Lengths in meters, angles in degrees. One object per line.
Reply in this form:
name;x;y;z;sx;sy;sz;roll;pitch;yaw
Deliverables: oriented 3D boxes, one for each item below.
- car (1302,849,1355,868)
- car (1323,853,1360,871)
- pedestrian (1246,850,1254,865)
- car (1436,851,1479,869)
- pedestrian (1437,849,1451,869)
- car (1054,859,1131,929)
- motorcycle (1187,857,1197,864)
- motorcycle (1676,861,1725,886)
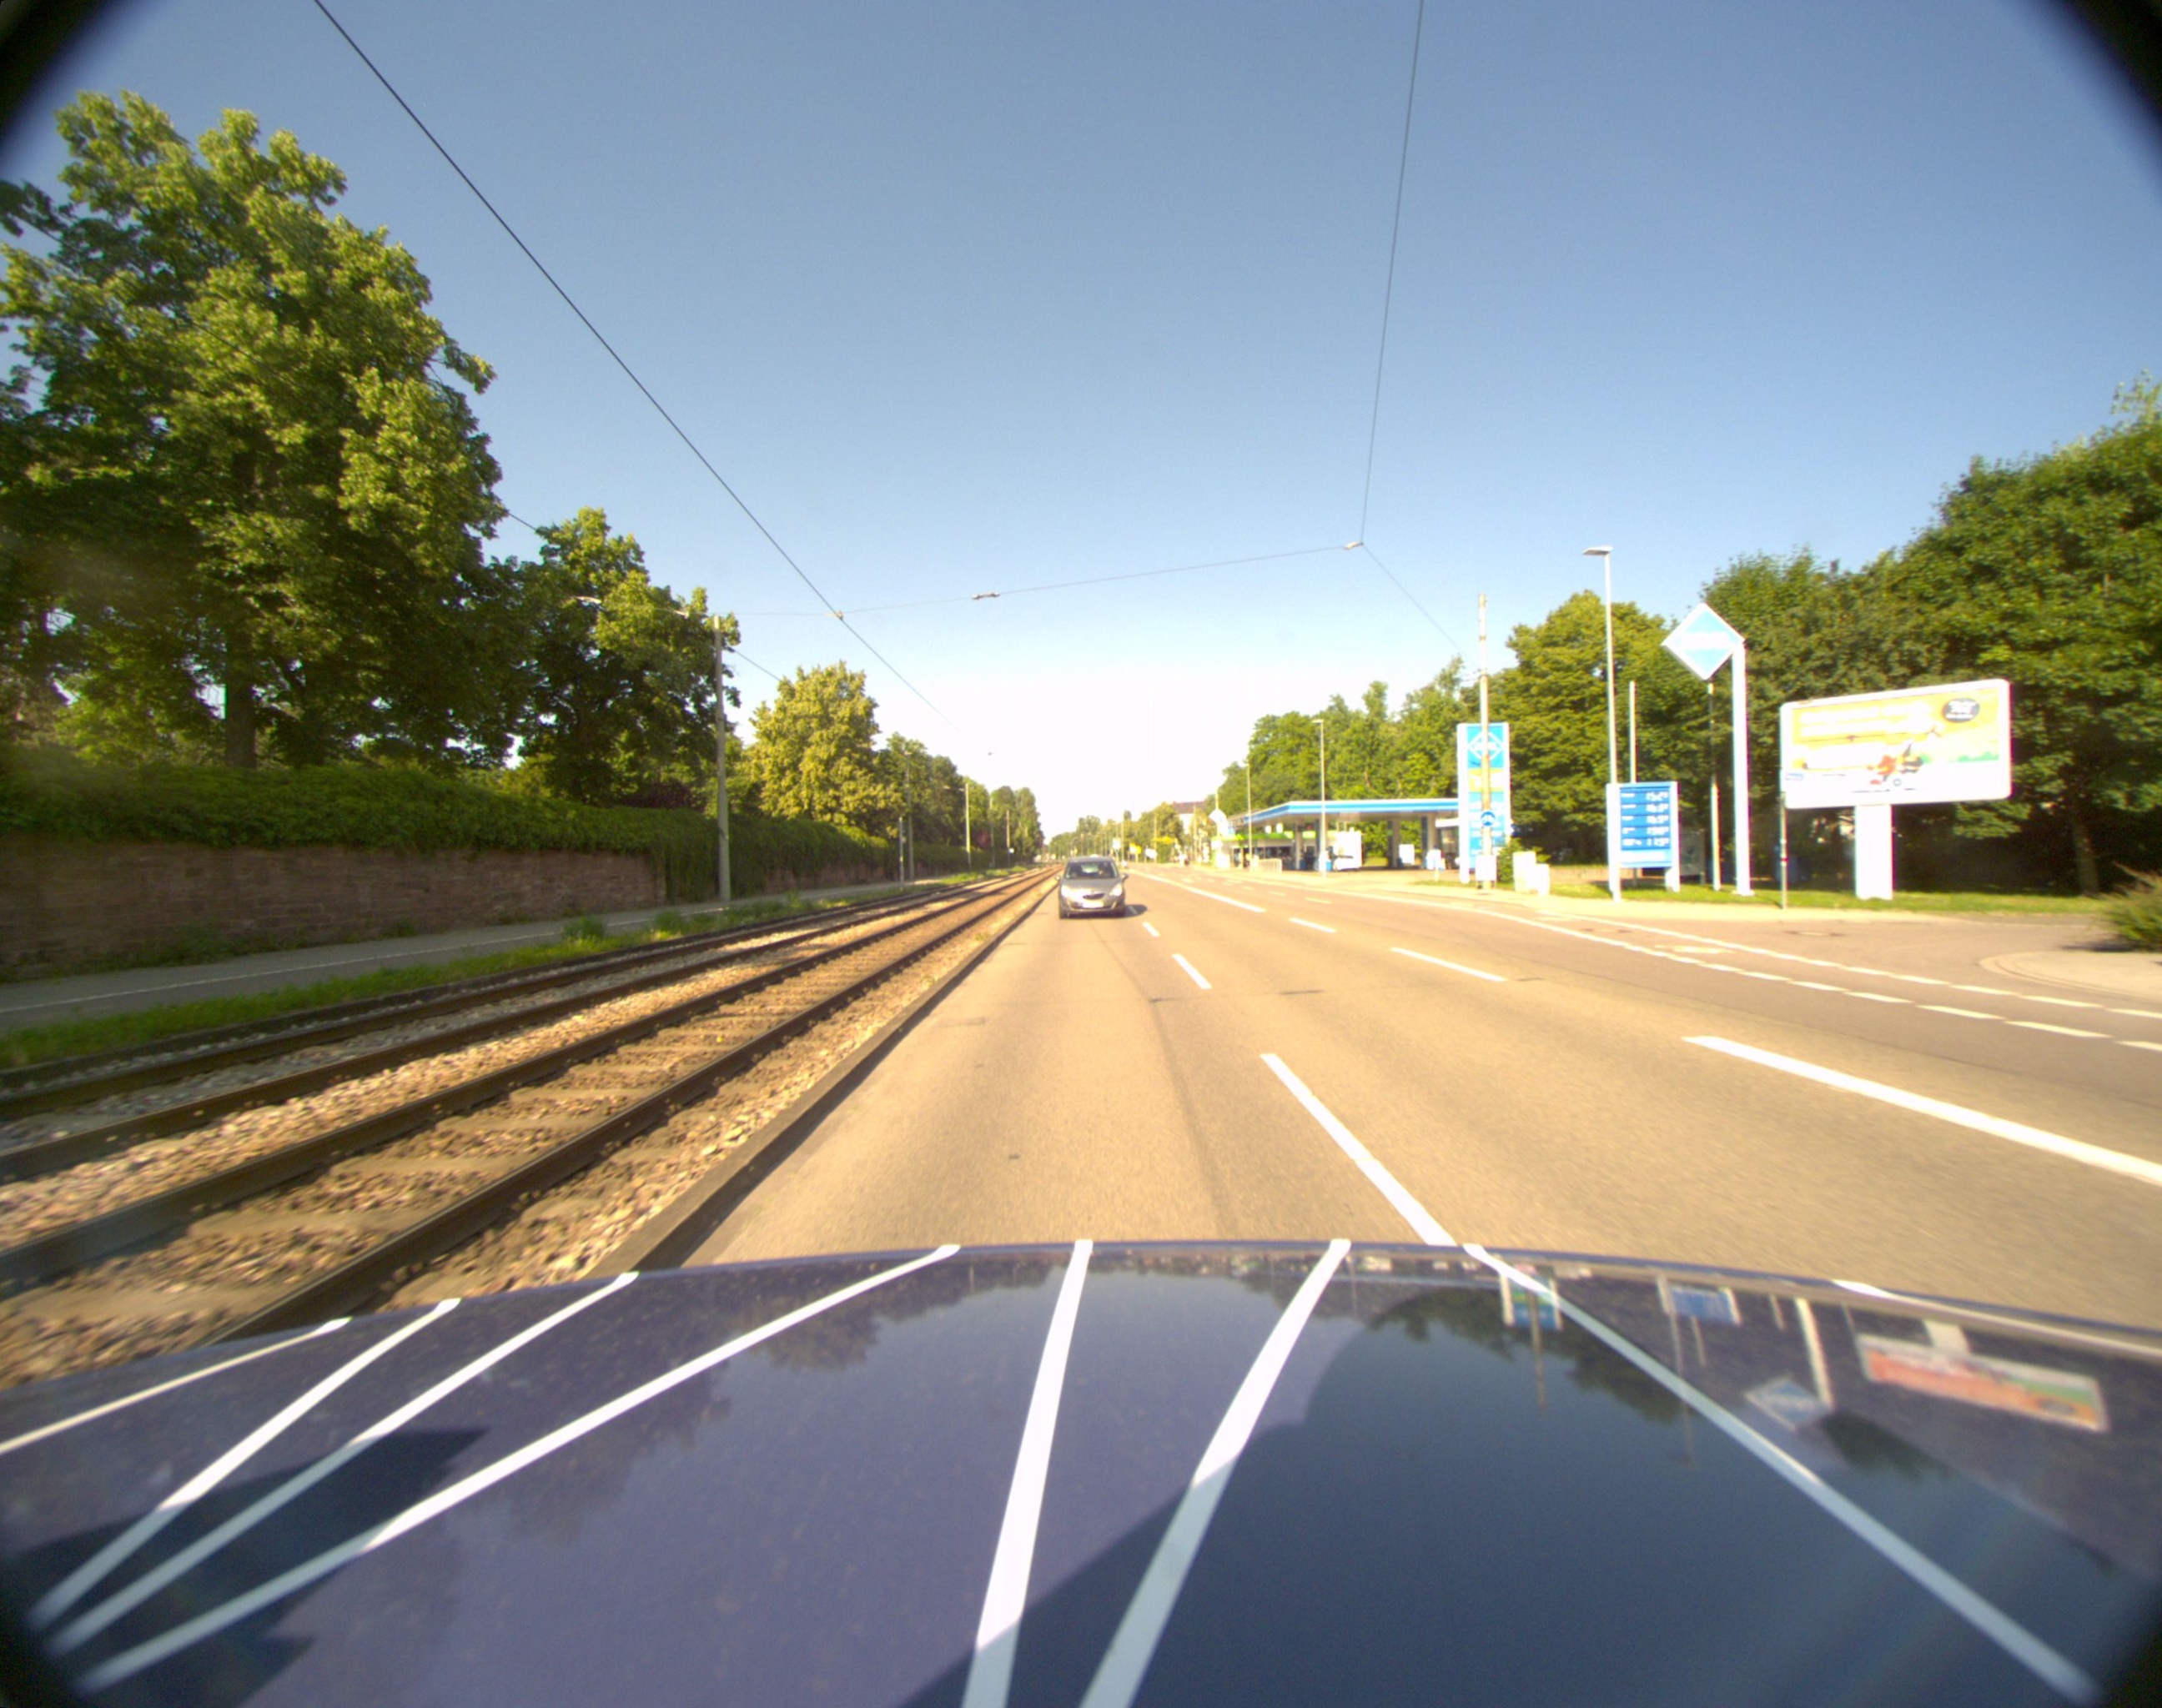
car;26.638;0.514;81.972;5.082;1.929;1.858;-1;0;5
car;22.276;0.659;65.100;1.741;1.482;4.275;-1;0;1
pedestrian;19.370;0.375;87.097;0.603;1.721;0.664;-1;1;32
car;31.628;0.465;63.954;1.740;1.437;4.001;-1;0;3
pedestrian;30.509;0.448;63.874;0.818;1.680;0.795;-1;0;0
car;0.279;0.937;19.409;1.730;1.573;3.763;-2;0;0
motorcycle;18.460;1.044;125.968;0.732;1.220;2.268;-1;0;34
motorcycle;25.722;0.793;31.585;0.518;0.976;1.905;-1;0;0
